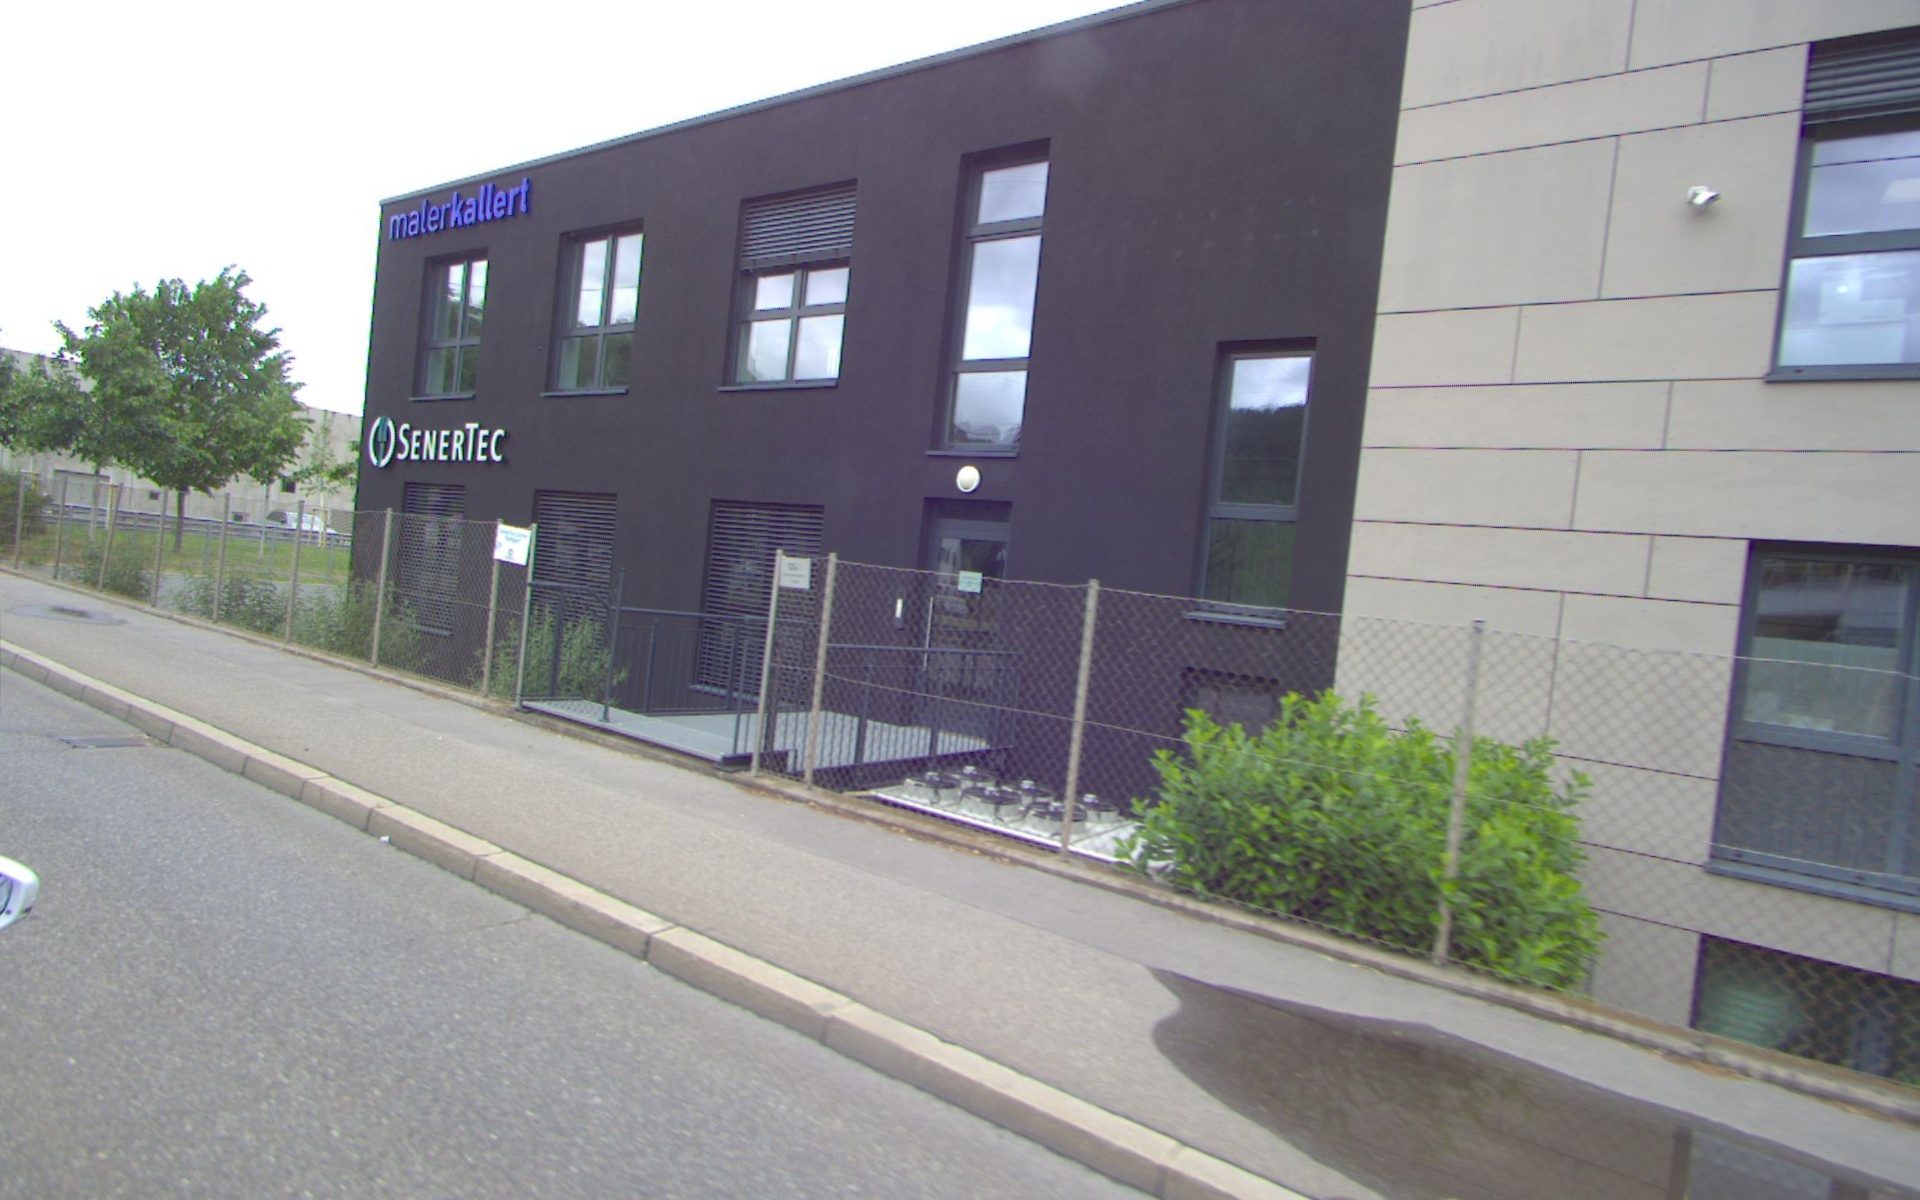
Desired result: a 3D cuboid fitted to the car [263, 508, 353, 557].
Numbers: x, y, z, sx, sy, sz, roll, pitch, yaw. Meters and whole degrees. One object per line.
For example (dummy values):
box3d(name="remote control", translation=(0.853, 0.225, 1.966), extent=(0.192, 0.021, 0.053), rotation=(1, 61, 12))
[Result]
box3d(name="car", translation=(-29.557, -3.081, 45.560), extent=(4.618, 1.742, 1.910), rotation=(7, 1, 38))
